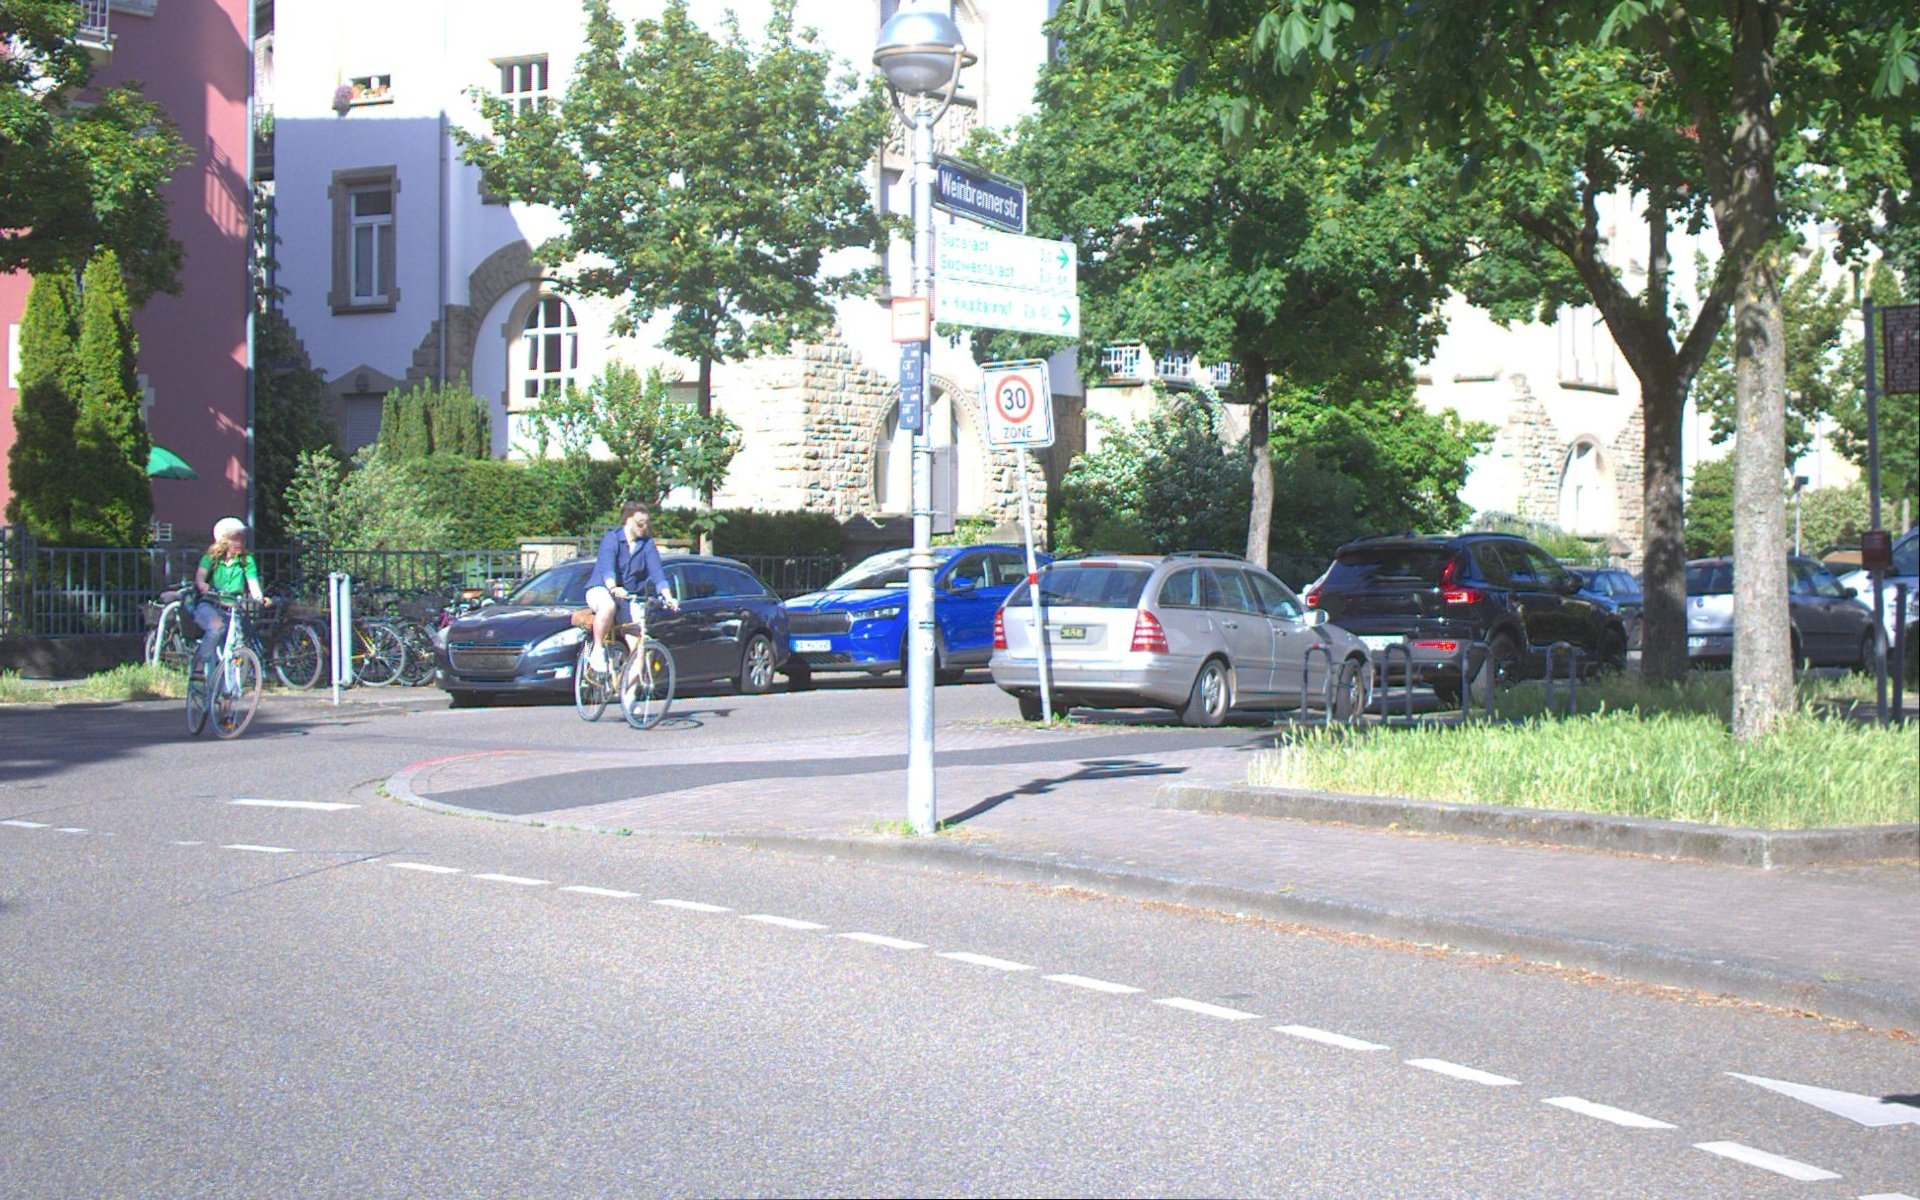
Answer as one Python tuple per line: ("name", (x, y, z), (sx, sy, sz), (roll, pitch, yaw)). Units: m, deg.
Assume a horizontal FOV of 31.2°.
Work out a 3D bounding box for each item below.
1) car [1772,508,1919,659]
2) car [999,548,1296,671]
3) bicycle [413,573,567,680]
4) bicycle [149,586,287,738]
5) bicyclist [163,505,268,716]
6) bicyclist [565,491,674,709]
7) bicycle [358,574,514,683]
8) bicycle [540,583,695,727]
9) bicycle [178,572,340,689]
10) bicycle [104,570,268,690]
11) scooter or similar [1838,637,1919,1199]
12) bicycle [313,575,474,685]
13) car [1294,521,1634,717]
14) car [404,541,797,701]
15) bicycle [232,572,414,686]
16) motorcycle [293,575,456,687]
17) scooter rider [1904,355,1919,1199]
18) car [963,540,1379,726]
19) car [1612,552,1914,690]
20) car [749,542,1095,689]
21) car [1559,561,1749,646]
("car", (13.582, -0.216, 46.369), (4.771, 1.994, 1.807), (1, 1, 29))
("car", (2.454, 0.096, 43.962), (1.807, 1.446, 4.391), (-2, 0, 33))
("bicycle", (-5.230, 0.281, 38.229), (1.724, 1.103, 0.515), (3, 2, 30))
("bicycle", (-5.636, 0.449, 26.057), (0.594, 1.104, 1.864), (-1, 0, -26))
("bicyclist", (-5.654, 0.075, 26.077), (0.594, 1.576, 0.804), (-1, 0, -26))
("bicyclist", (-2.717, -0.001, 27.394), (0.644, 1.709, 0.723), (0, 0, -27))
("bicycle", (-5.720, 0.304, 37.484), (1.724, 1.103, 0.500), (3, 2, 30))
("bicycle", (-2.746, 0.421, 27.442), (0.644, 1.104, 1.717), (0, 0, -27))
("bicycle", (-7.173, 0.299, 35.165), (1.724, 1.111, 0.545), (3, 2, 34))
("bicycle", (-7.741, 0.289, 34.359), (1.724, 1.111, 0.545), (3, 2, 34))
("scooter or similar", (2.291, 0.725, 6.726), (0.630, 1.278, 1.106), (0, 1, -16))
("bicycle", (-6.086, 0.310, 36.893), (1.724, 1.103, 0.500), (2, 2, 27))
("car", (4.891, 0.143, 32.890), (1.807, 1.722, 4.332), (1, 1, 29))
("car", (-3.565, 0.189, 34.863), (1.806, 1.478, 4.332), (-2, 0, 28))
("bicycle", (-6.641, 0.293, 35.805), (1.825, 1.103, 0.500), (2, 2, 18))
("motorcycle", (-6.191, 0.318, 36.325), (1.724, 1.103, 0.500), (2, 2, 27))
("scooter rider", (2.296, 0.425, 6.722), (0.623, 1.825, 0.632), (0, 1, -16))
("car", (1.860, 0.229, 28.880), (1.807, 1.411, 4.332), (1, 1, 29))
("car", (9.305, 0.209, 39.632), (1.808, 1.469, 4.329), (1, 1, 36))
("car", (-0.371, 0.148, 39.551), (1.807, 1.556, 4.391), (-2, 0, 33))
("car", (12.414, 0.053, 61.291), (1.807, 1.392, 4.391), (-2, 0, 33))
